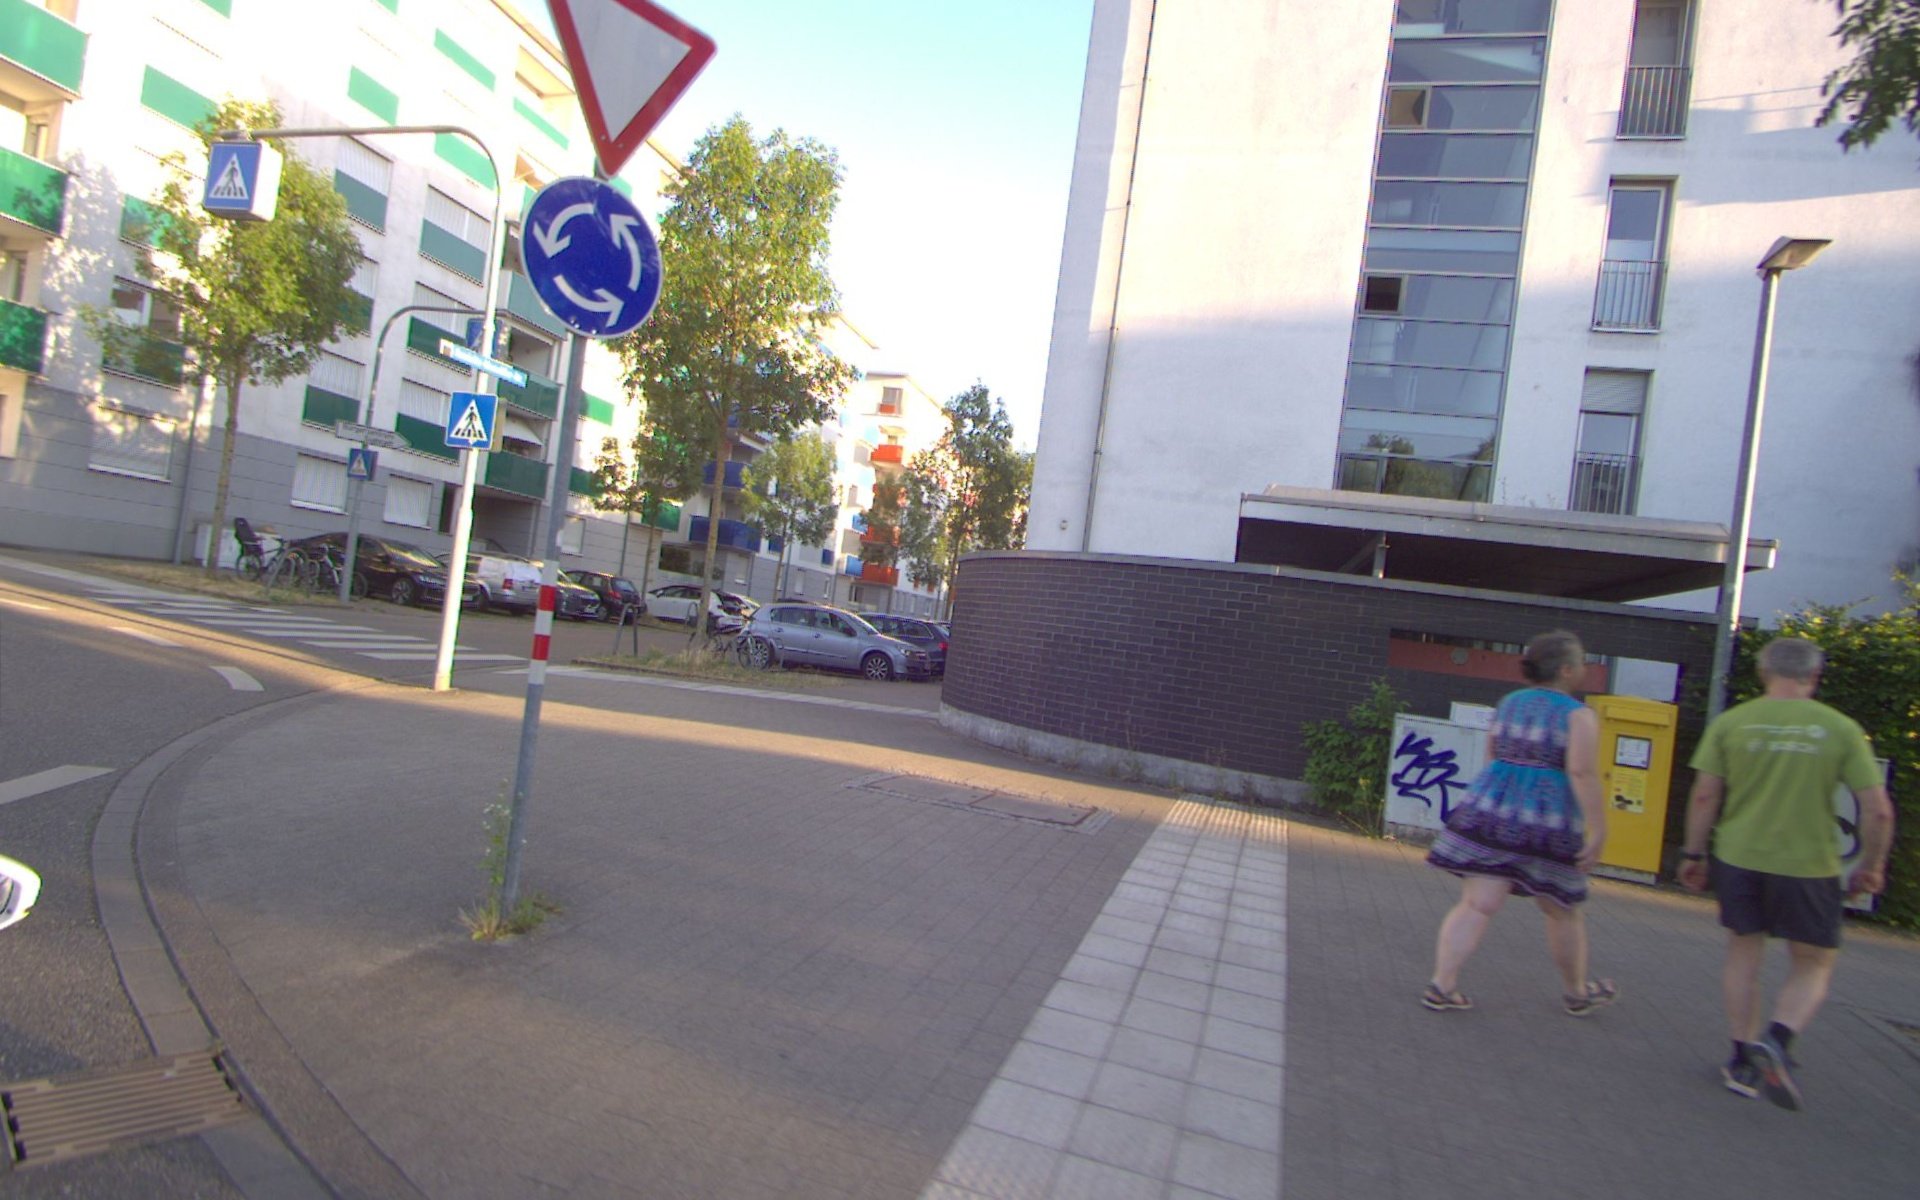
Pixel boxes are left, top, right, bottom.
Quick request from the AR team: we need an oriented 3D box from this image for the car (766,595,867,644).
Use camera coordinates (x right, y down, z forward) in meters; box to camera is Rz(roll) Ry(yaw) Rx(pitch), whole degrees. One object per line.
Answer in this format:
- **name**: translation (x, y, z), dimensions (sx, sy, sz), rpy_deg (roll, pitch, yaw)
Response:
- **car**: translation (-7.308, 1.016, 51.479), dimensions (4.507, 1.854, 2.002), rpy_deg (7, -1, 17)

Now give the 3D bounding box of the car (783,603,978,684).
- **car**: translation (-1.809, 1.028, 23.597), dimensions (4.039, 1.470, 2.002), rpy_deg (5, -2, 14)

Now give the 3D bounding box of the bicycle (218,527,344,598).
- **bicycle**: translation (-14.237, -0.783, 21.095), dimensions (2.414, 1.165, 0.699), rpy_deg (7, 0, 16)

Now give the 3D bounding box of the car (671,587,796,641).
- **car**: translation (-9.341, 0.571, 41.571), dimensions (4.507, 1.571, 2.002), rpy_deg (7, -1, 17)

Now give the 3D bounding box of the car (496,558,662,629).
- **car**: translation (-12.021, -0.185, 31.796), dimensions (4.507, 1.571, 2.002), rpy_deg (7, -1, 17)

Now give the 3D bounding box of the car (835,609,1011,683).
- **car**: translation (-0.902, 1.178, 25.859), dimensions (4.039, 1.470, 2.002), rpy_deg (5, -2, 14)

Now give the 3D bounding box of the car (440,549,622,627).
- **car**: translation (-12.428, -0.338, 29.197), dimensions (4.507, 1.571, 2.002), rpy_deg (7, -1, 17)

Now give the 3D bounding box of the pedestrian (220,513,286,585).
- **pedestrian**: translation (-14.983, -1.068, 21.317), dimensions (0.788, 1.371, 0.660), rpy_deg (7, 0, 16)

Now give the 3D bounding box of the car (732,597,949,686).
- **car**: translation (-2.492, 0.880, 21.363), dimensions (4.039, 1.470, 2.002), rpy_deg (5, -2, 14)

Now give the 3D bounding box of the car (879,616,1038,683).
- **car**: translation (-0.010, 1.397, 28.409), dimensions (4.039, 1.470, 2.002), rpy_deg (5, -2, 14)

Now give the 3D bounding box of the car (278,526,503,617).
- **car**: translation (-13.560, -0.659, 24.010), dimensions (4.507, 1.470, 2.002), rpy_deg (7, -1, 17)

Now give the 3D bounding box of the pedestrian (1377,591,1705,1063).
- **pedestrian**: translation (2.452, 0.880, 4.253), dimensions (0.976, 1.714, 0.694), rpy_deg (5, 1, -34)

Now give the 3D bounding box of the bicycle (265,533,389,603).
- **bicycle**: translation (-13.658, -0.687, 21.698), dimensions (2.474, 1.165, 0.690), rpy_deg (7, 0, 16)

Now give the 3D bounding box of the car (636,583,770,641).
- **car**: translation (-9.956, 0.470, 39.063), dimensions (4.507, 1.571, 2.002), rpy_deg (7, -1, 17)

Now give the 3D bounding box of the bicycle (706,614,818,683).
- **bicycle**: translation (-3.786, 0.931, 19.249), dimensions (1.906, 1.127, 0.725), rpy_deg (4, -1, 17)

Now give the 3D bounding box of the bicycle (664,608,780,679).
- **bicycle**: translation (-4.392, 0.793, 18.587), dimensions (1.906, 1.127, 0.725), rpy_deg (4, -1, 17)

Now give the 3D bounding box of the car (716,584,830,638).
- **car**: translation (-8.504, 0.510, 45.791), dimensions (4.507, 1.760, 2.002), rpy_deg (7, -1, 17)

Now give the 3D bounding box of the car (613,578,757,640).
- **car**: translation (-9.911, 0.343, 36.340), dimensions (4.507, 1.571, 2.002), rpy_deg (7, -1, 17)

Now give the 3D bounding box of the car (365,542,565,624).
- **car**: translation (-13.090, -0.442, 26.656), dimensions (4.507, 1.470, 2.002), rpy_deg (7, -1, 17)

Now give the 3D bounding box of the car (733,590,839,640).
- **car**: translation (-8.477, 0.723, 49.059), dimensions (4.507, 1.760, 2.002), rpy_deg (7, -1, 17)

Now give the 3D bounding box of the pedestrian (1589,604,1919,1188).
- **pedestrian**: translation (2.955, 0.932, 3.635), dimensions (1.014, 1.715, 0.751), rpy_deg (5, 2, -42)
